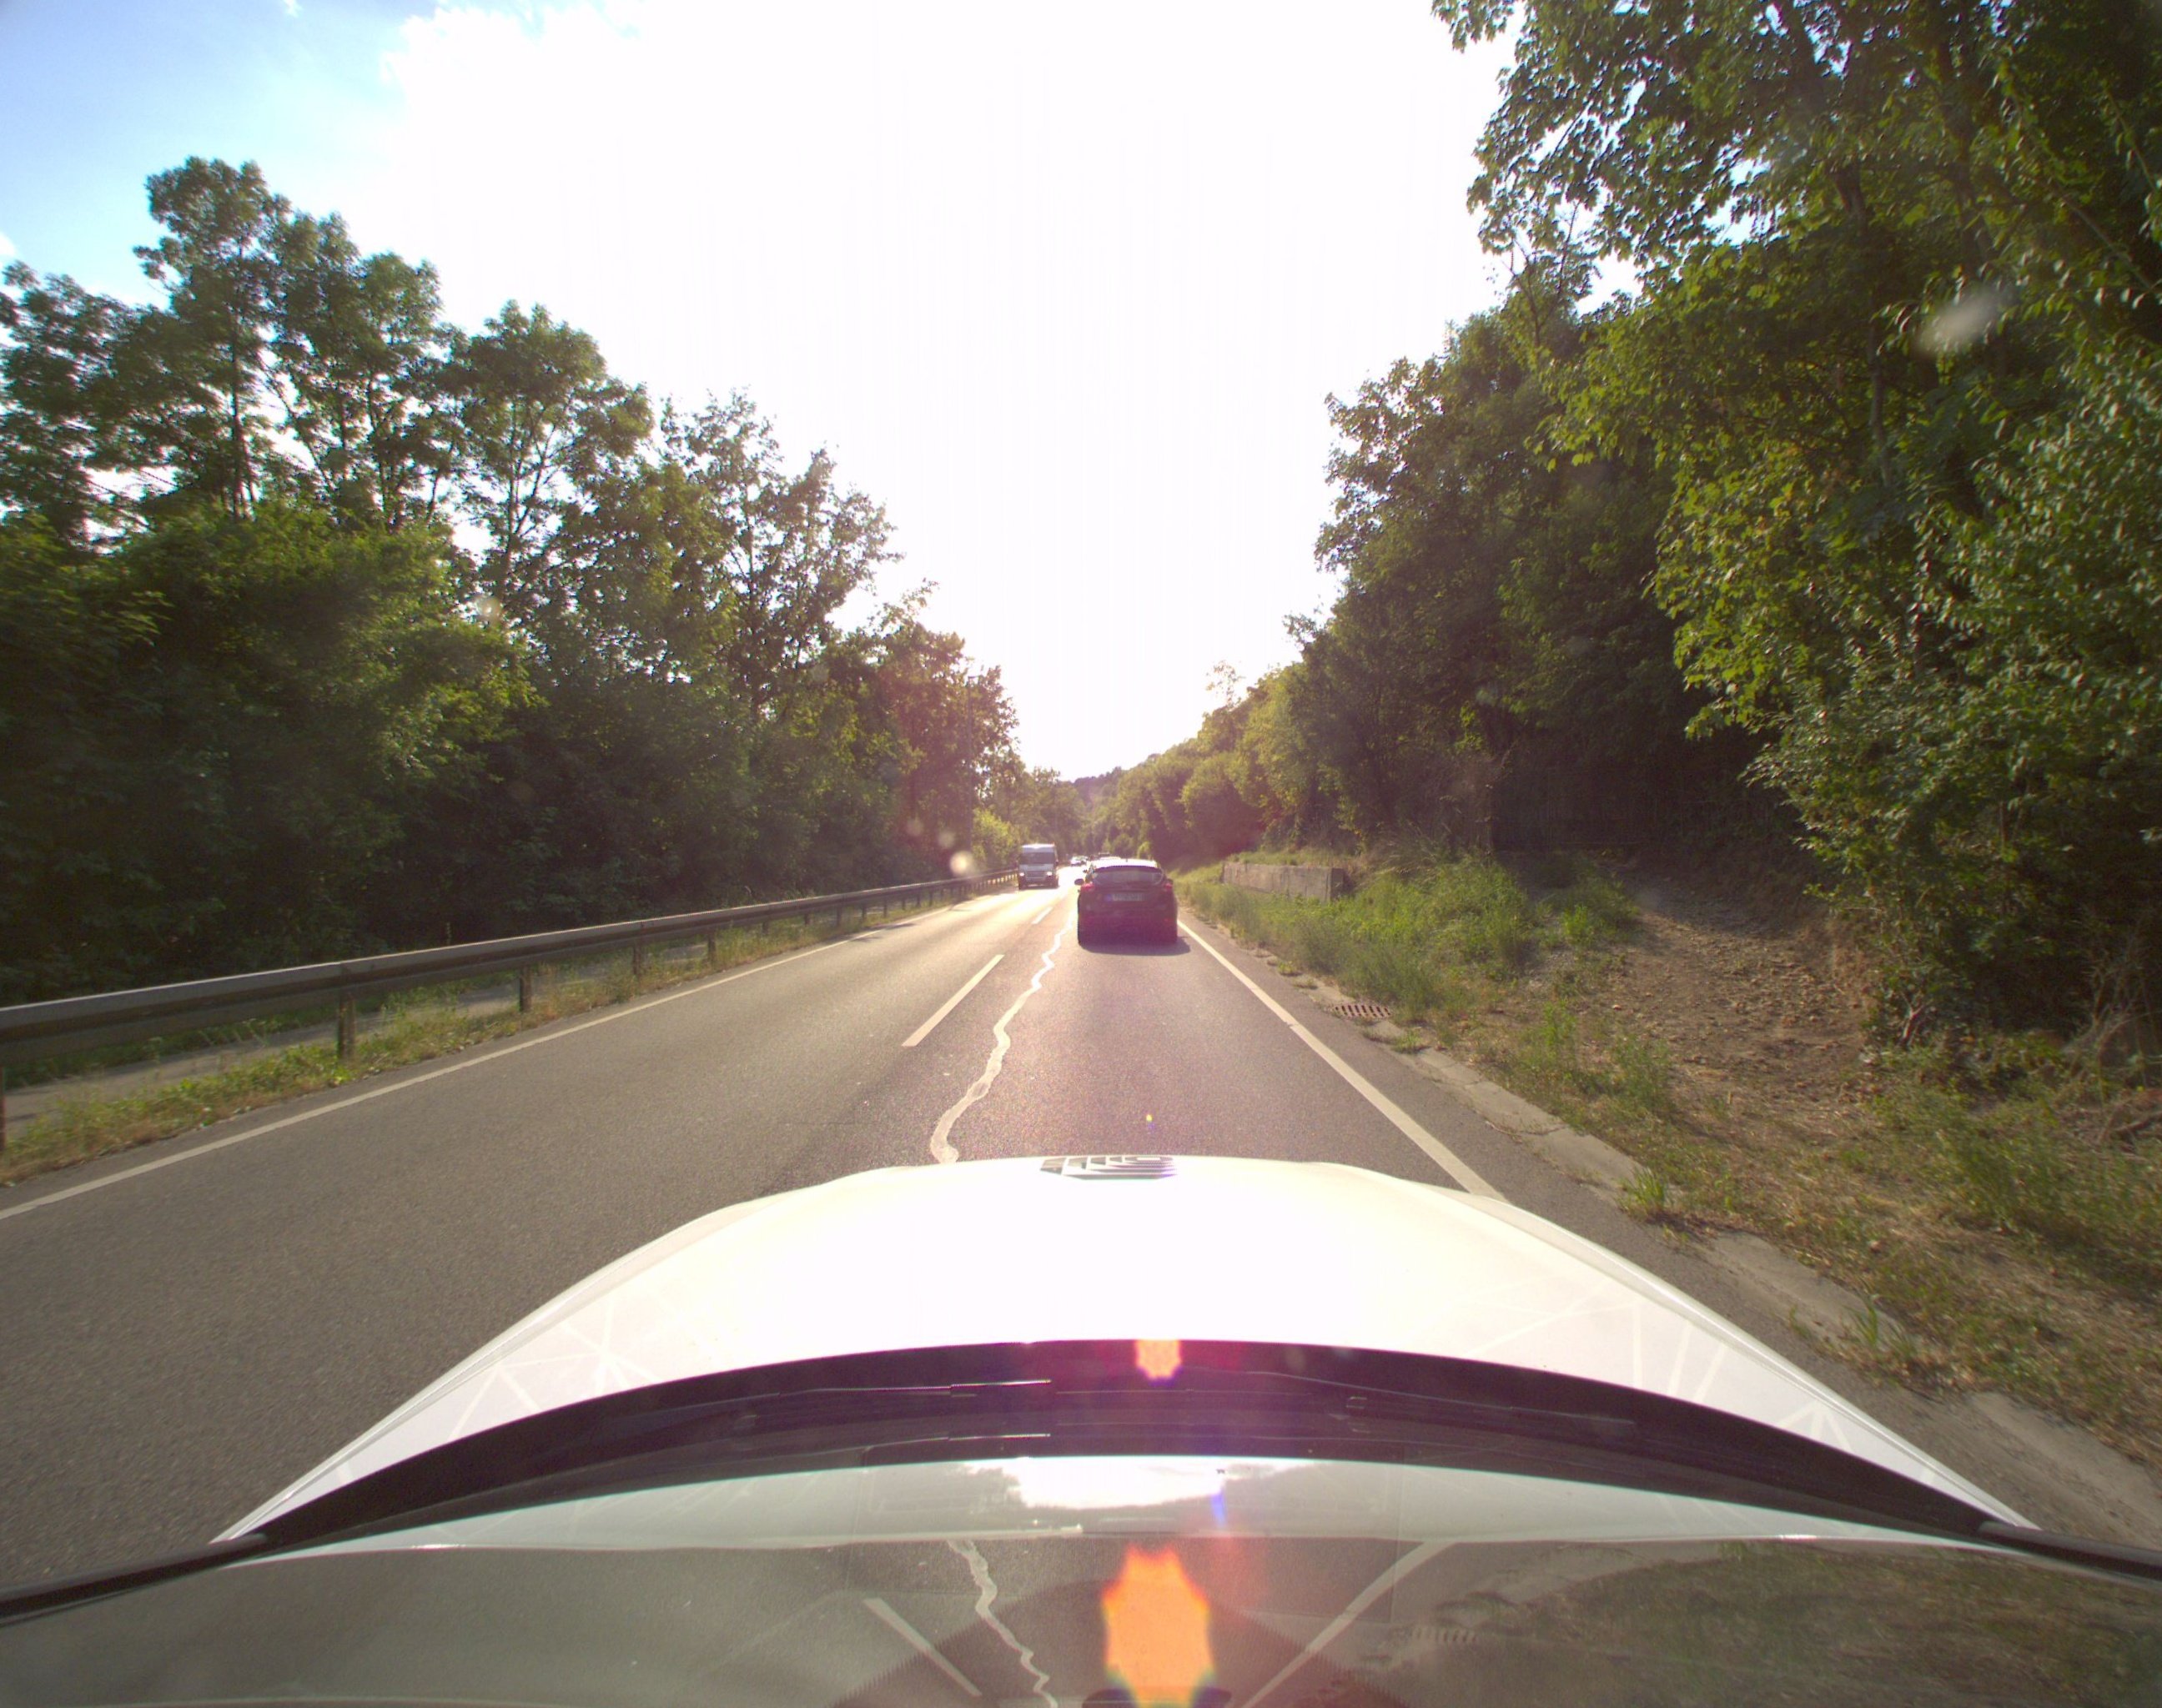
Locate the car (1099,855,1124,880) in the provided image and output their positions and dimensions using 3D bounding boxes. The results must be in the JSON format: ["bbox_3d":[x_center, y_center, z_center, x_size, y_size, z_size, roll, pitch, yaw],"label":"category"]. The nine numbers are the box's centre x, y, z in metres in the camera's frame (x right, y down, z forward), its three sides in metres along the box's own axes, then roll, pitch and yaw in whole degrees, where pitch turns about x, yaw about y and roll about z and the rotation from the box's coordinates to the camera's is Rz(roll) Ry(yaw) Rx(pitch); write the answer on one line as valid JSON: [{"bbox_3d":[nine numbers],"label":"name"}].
[{"bbox_3d":[2.035,0.911,55.075,1.625,1.596,4.001,-1,0,2],"label":"car"}]

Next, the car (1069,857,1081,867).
[{"bbox_3d":[-0.885,1.199,127.797,1.676,1.442,4.001,-2,0,1],"label":"car"}]

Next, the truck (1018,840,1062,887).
[{"bbox_3d":[-2.235,0.511,45.764,2.051,2.385,5.872,-2,0,0],"label":"truck"}]

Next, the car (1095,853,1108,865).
[{"bbox_3d":[2.957,0.709,117.500,1.855,1.780,4.003,-1,0,2],"label":"car"}]

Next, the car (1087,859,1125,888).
[{"bbox_3d":[1.286,0.960,42.055,1.798,1.391,4.001,-1,0,2],"label":"car"}]

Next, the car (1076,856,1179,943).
[{"bbox_3d":[0.839,0.787,15.703,1.733,1.456,4.001,0,-1,2],"label":"car"}]

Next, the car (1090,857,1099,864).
[{"bbox_3d":[3.432,1.650,206.899,1.991,1.519,3.992,-1,0,-6],"label":"car"}]

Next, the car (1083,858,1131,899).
[{"bbox_3d":[1.039,0.880,31.075,1.654,1.418,4.003,-1,0,3],"label":"car"}]

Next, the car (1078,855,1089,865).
[{"bbox_3d":[0.442,1.040,142.983,1.741,1.717,4.223,-2,0,2],"label":"car"}]

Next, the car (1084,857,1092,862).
[{"bbox_3d":[2.177,1.651,241.966,1.991,1.519,3.992,-1,0,-6],"label":"car"}]
